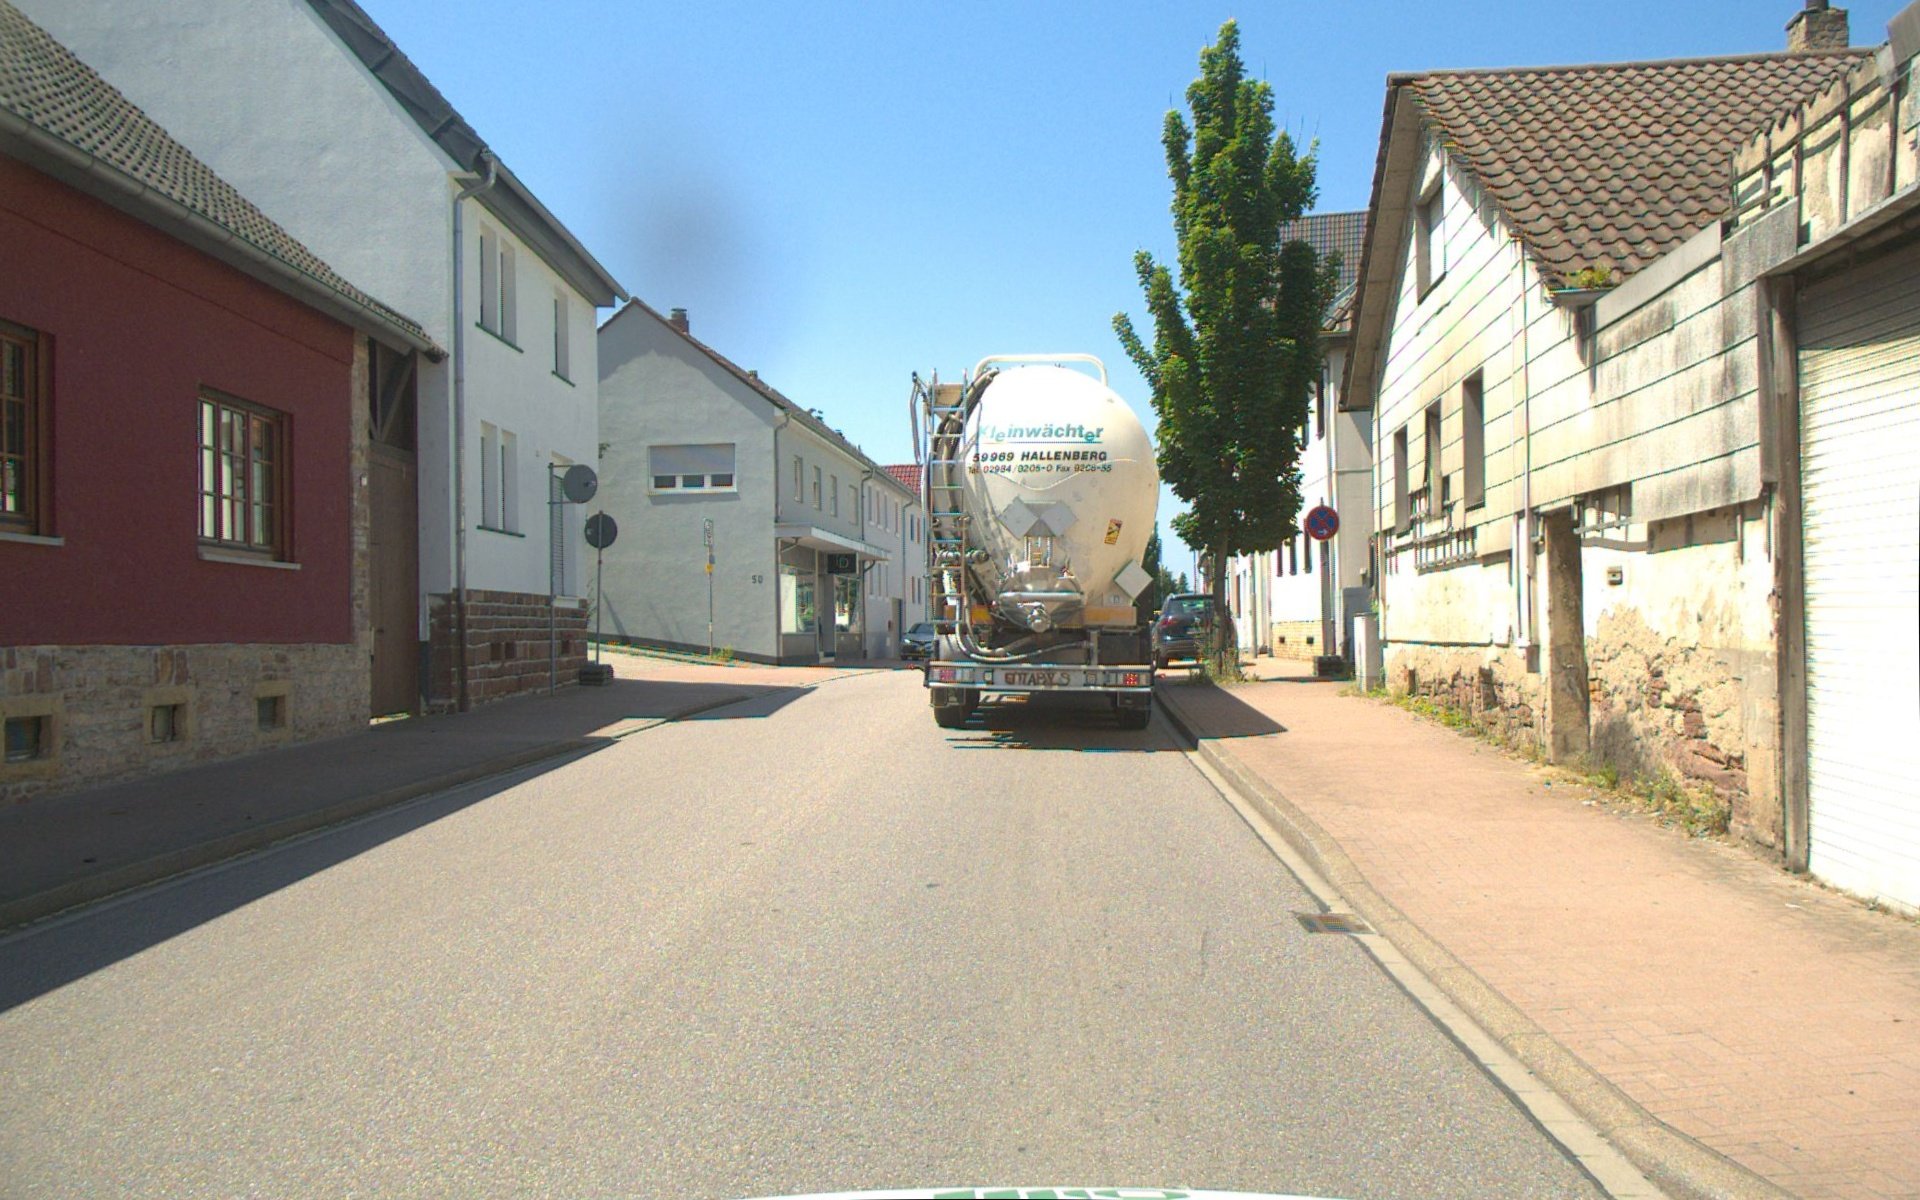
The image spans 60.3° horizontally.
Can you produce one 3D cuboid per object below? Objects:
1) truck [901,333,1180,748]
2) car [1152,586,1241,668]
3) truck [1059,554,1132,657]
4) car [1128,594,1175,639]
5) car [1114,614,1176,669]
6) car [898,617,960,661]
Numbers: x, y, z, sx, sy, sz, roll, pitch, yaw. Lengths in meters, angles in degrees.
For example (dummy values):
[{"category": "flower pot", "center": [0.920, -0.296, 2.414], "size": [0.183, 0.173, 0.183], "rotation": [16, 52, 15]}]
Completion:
[{"category": "truck", "center": [1.045, -0.570, 20.249], "size": [2.675, 4.029, 8.145], "rotation": [1, 0, 4]}, {"category": "car", "center": [5.353, 0.597, 37.880], "size": [1.764, 1.642, 4.551], "rotation": [-4, -1, 6]}, {"category": "truck", "center": [5.811, 0.164, 71.756], "size": [2.901, 4.140, 9.288], "rotation": [-1, 0, 4]}, {"category": "car", "center": [8.982, 0.809, 77.917], "size": [1.905, 2.005, 4.787], "rotation": [-2, -1, 4]}, {"category": "car", "center": [5.602, 1.261, 50.289], "size": [1.665, 1.472, 4.839], "rotation": [-4, -2, 6]}, {"category": "car", "center": [-1.132, 1.453, 62.542], "size": [1.770, 1.584, 4.567], "rotation": [1, -1, 6]}]
